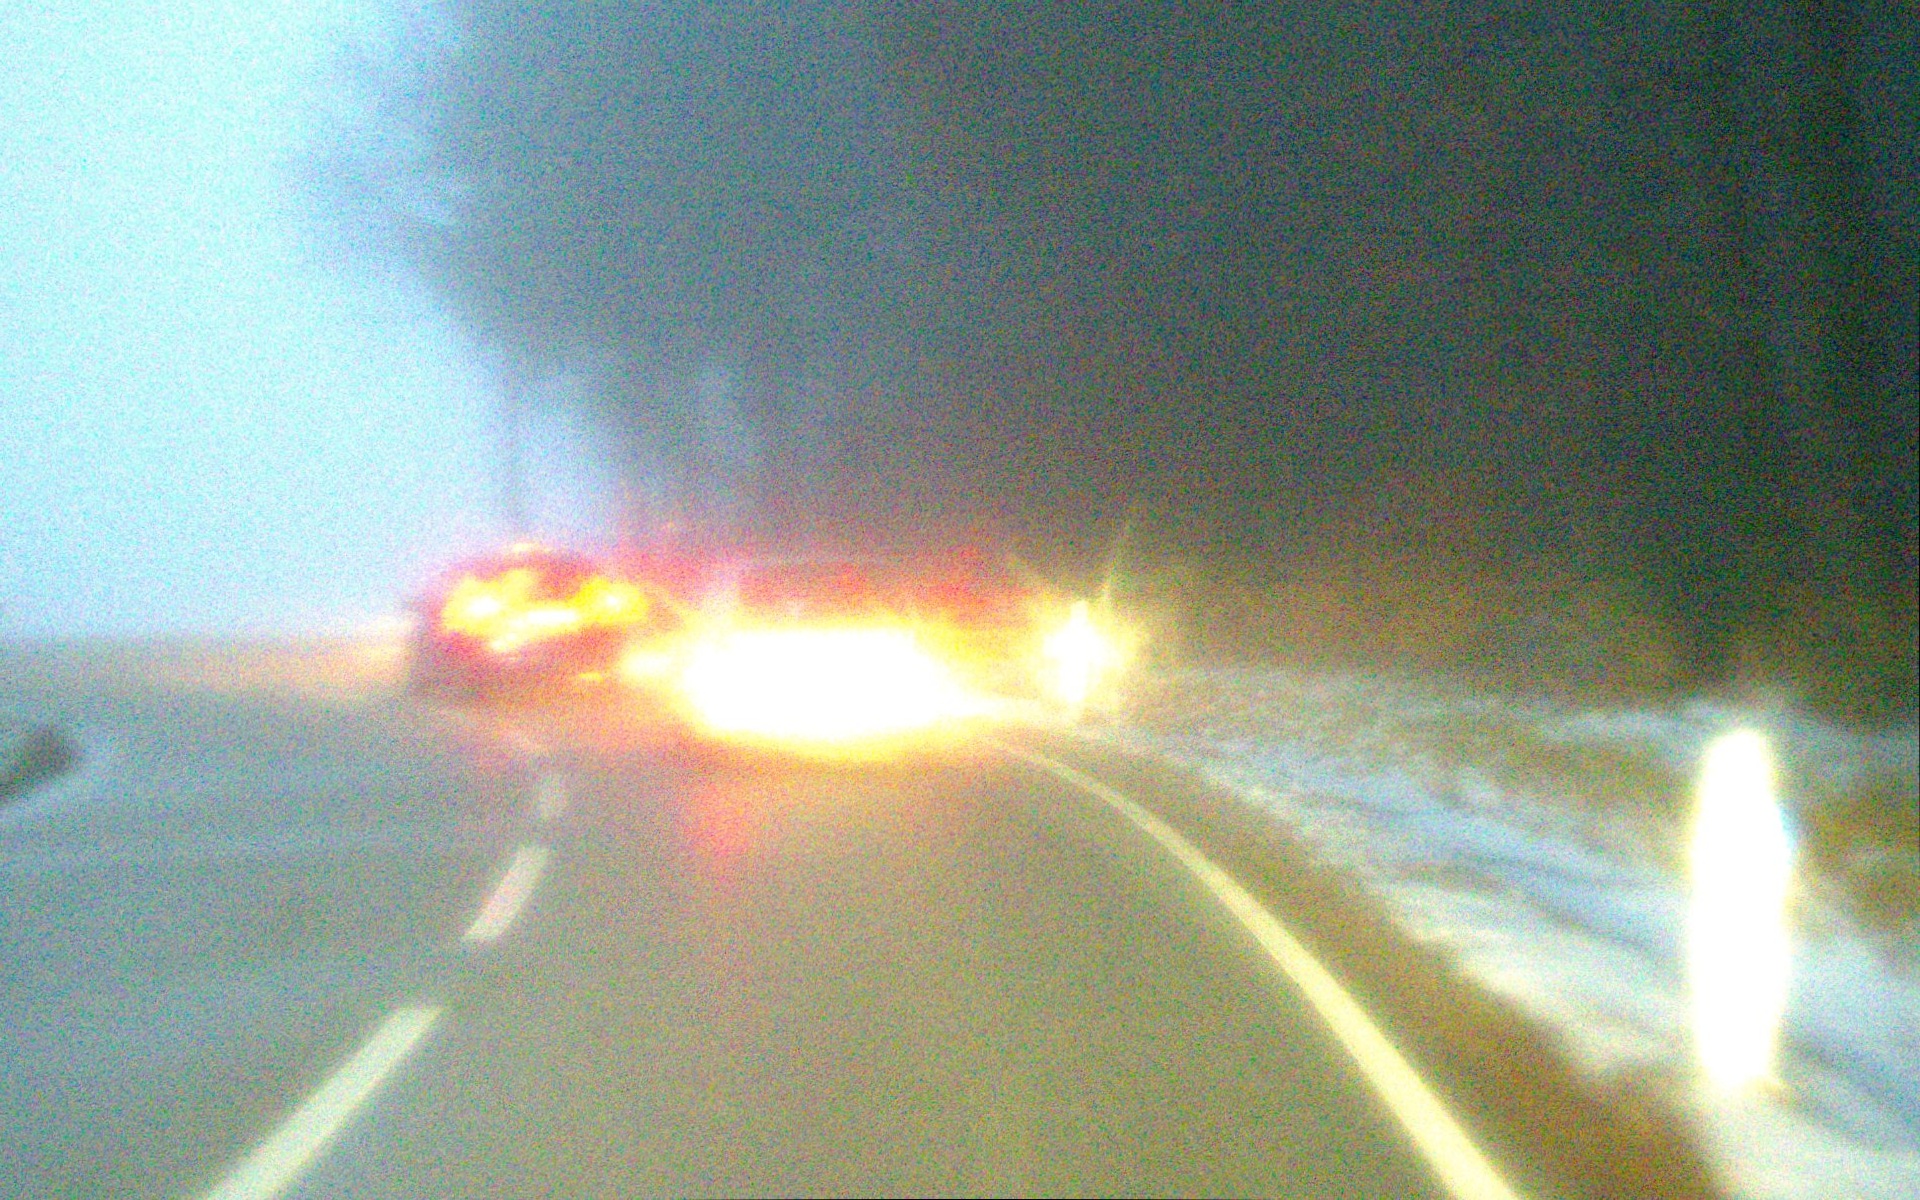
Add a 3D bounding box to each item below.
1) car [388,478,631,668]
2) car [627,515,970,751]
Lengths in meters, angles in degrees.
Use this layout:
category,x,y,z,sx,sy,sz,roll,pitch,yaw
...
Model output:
category,x,y,z,sx,sy,sz,roll,pitch,yaw
car,-4.726,-0.311,35.637,1.993,1.777,4.001,3,1,-14
car,-1.215,0.185,23.844,1.945,1.376,4.001,4,0,-8
